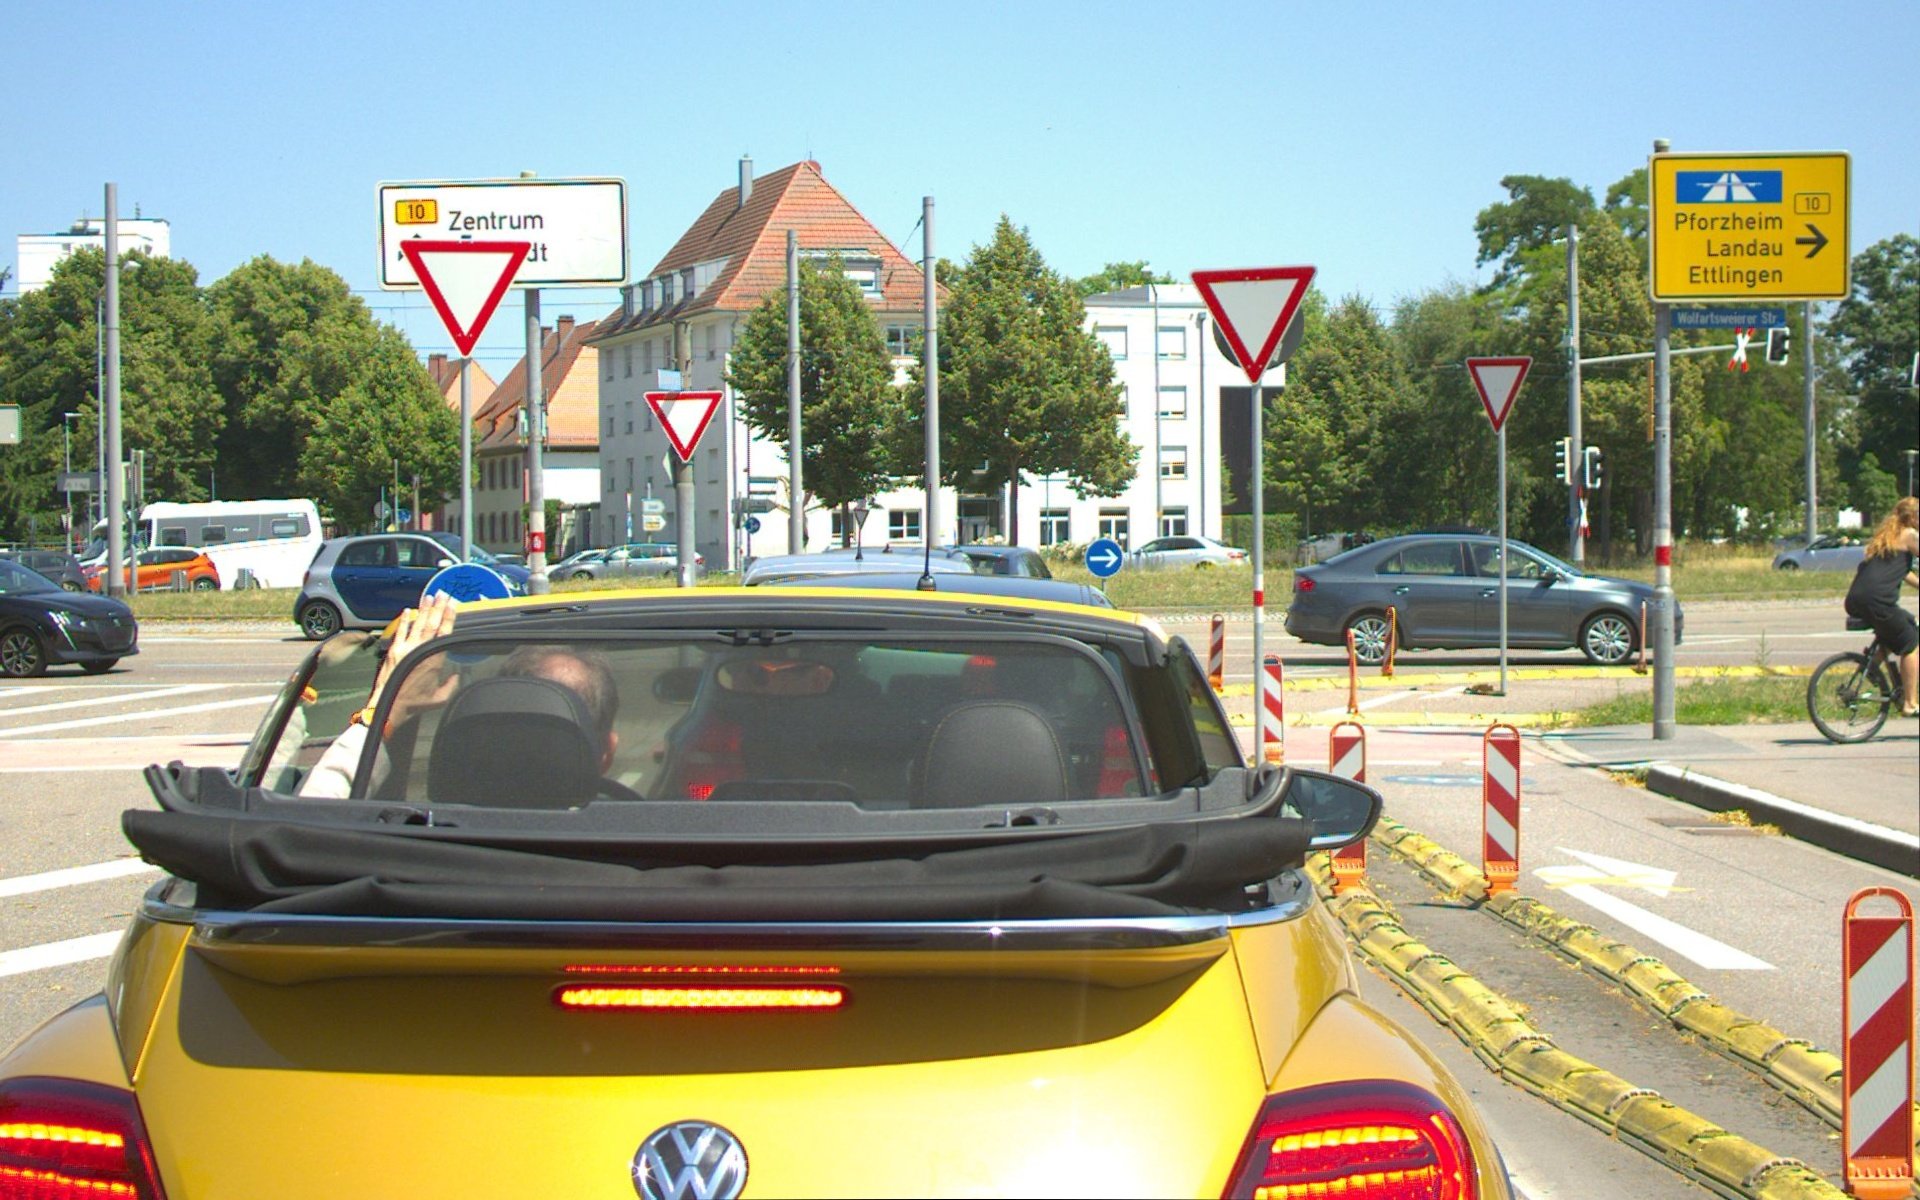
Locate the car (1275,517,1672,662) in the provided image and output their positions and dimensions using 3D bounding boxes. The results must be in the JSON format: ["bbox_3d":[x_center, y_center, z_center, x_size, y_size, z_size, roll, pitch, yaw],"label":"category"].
[{"bbox_3d":[5.795,-0.131,38.908,4.330,1.547,1.727,1,0,9],"label":"car"}]

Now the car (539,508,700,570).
[{"bbox_3d":[-9.915,-1.763,99.964,4.429,1.730,1.849,1,0,-14],"label":"car"}]

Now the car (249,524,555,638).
[{"bbox_3d":[-8.032,-0.283,49.564,3.989,1.547,1.727,1,0,14],"label":"car"}]

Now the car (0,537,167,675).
[{"bbox_3d":[-11.849,0.064,41.656,3.990,1.546,1.727,0,3,15],"label":"car"}]

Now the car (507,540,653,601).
[{"bbox_3d":[-11.440,-0.880,103.410,3.986,1.766,1.787,1,1,-25],"label":"car"}]

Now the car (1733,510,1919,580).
[{"bbox_3d":[25.329,-1.594,99.721,5.322,1.955,1.990,1,1,35],"label":"car"}]

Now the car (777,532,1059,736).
[{"bbox_3d":[-0.337,0.208,27.667,2.065,1.476,4.543,-1,1,-1],"label":"car"}]

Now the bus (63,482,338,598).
[{"bbox_3d":[-21.523,-1.676,97.593,7.253,3.161,2.261,0,1,-33],"label":"bus"}]

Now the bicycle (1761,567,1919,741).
[{"bbox_3d":[6.808,0.382,25.028,1.843,1.227,0.613,-2,0,10],"label":"bicycle"}]

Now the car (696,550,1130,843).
[{"bbox_3d":[-0.247,0.441,18.620,2.065,1.377,4.258,1,1,-1],"label":"car"}]

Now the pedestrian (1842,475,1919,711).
[{"bbox_3d":[6.832,-0.052,25.016,0.733,1.685,0.575,1,0,9],"label":"pedestrian"}]

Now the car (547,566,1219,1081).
[{"bbox_3d":[-0.237,0.601,11.695,1.851,1.361,4.258,-1,1,-1],"label":"car"}]

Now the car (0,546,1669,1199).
[{"bbox_3d":[-0.303,0.678,5.103,1.765,1.476,4.258,1,1,-1],"label":"car"}]

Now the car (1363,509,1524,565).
[{"bbox_3d":[14.303,-1.869,101.736,4.323,1.608,1.879,1,1,27],"label":"car"}]

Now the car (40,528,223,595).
[{"bbox_3d":[-22.326,-1.027,92.669,4.430,1.730,1.849,0,1,-31],"label":"car"}]

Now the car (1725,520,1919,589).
[{"bbox_3d":[25.124,-1.339,100.147,1.989,1.955,5.325,0,1,-44],"label":"car"}]

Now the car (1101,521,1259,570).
[{"bbox_3d":[6.447,-1.596,100.639,4.320,1.367,1.751,1,1,16],"label":"car"}]
